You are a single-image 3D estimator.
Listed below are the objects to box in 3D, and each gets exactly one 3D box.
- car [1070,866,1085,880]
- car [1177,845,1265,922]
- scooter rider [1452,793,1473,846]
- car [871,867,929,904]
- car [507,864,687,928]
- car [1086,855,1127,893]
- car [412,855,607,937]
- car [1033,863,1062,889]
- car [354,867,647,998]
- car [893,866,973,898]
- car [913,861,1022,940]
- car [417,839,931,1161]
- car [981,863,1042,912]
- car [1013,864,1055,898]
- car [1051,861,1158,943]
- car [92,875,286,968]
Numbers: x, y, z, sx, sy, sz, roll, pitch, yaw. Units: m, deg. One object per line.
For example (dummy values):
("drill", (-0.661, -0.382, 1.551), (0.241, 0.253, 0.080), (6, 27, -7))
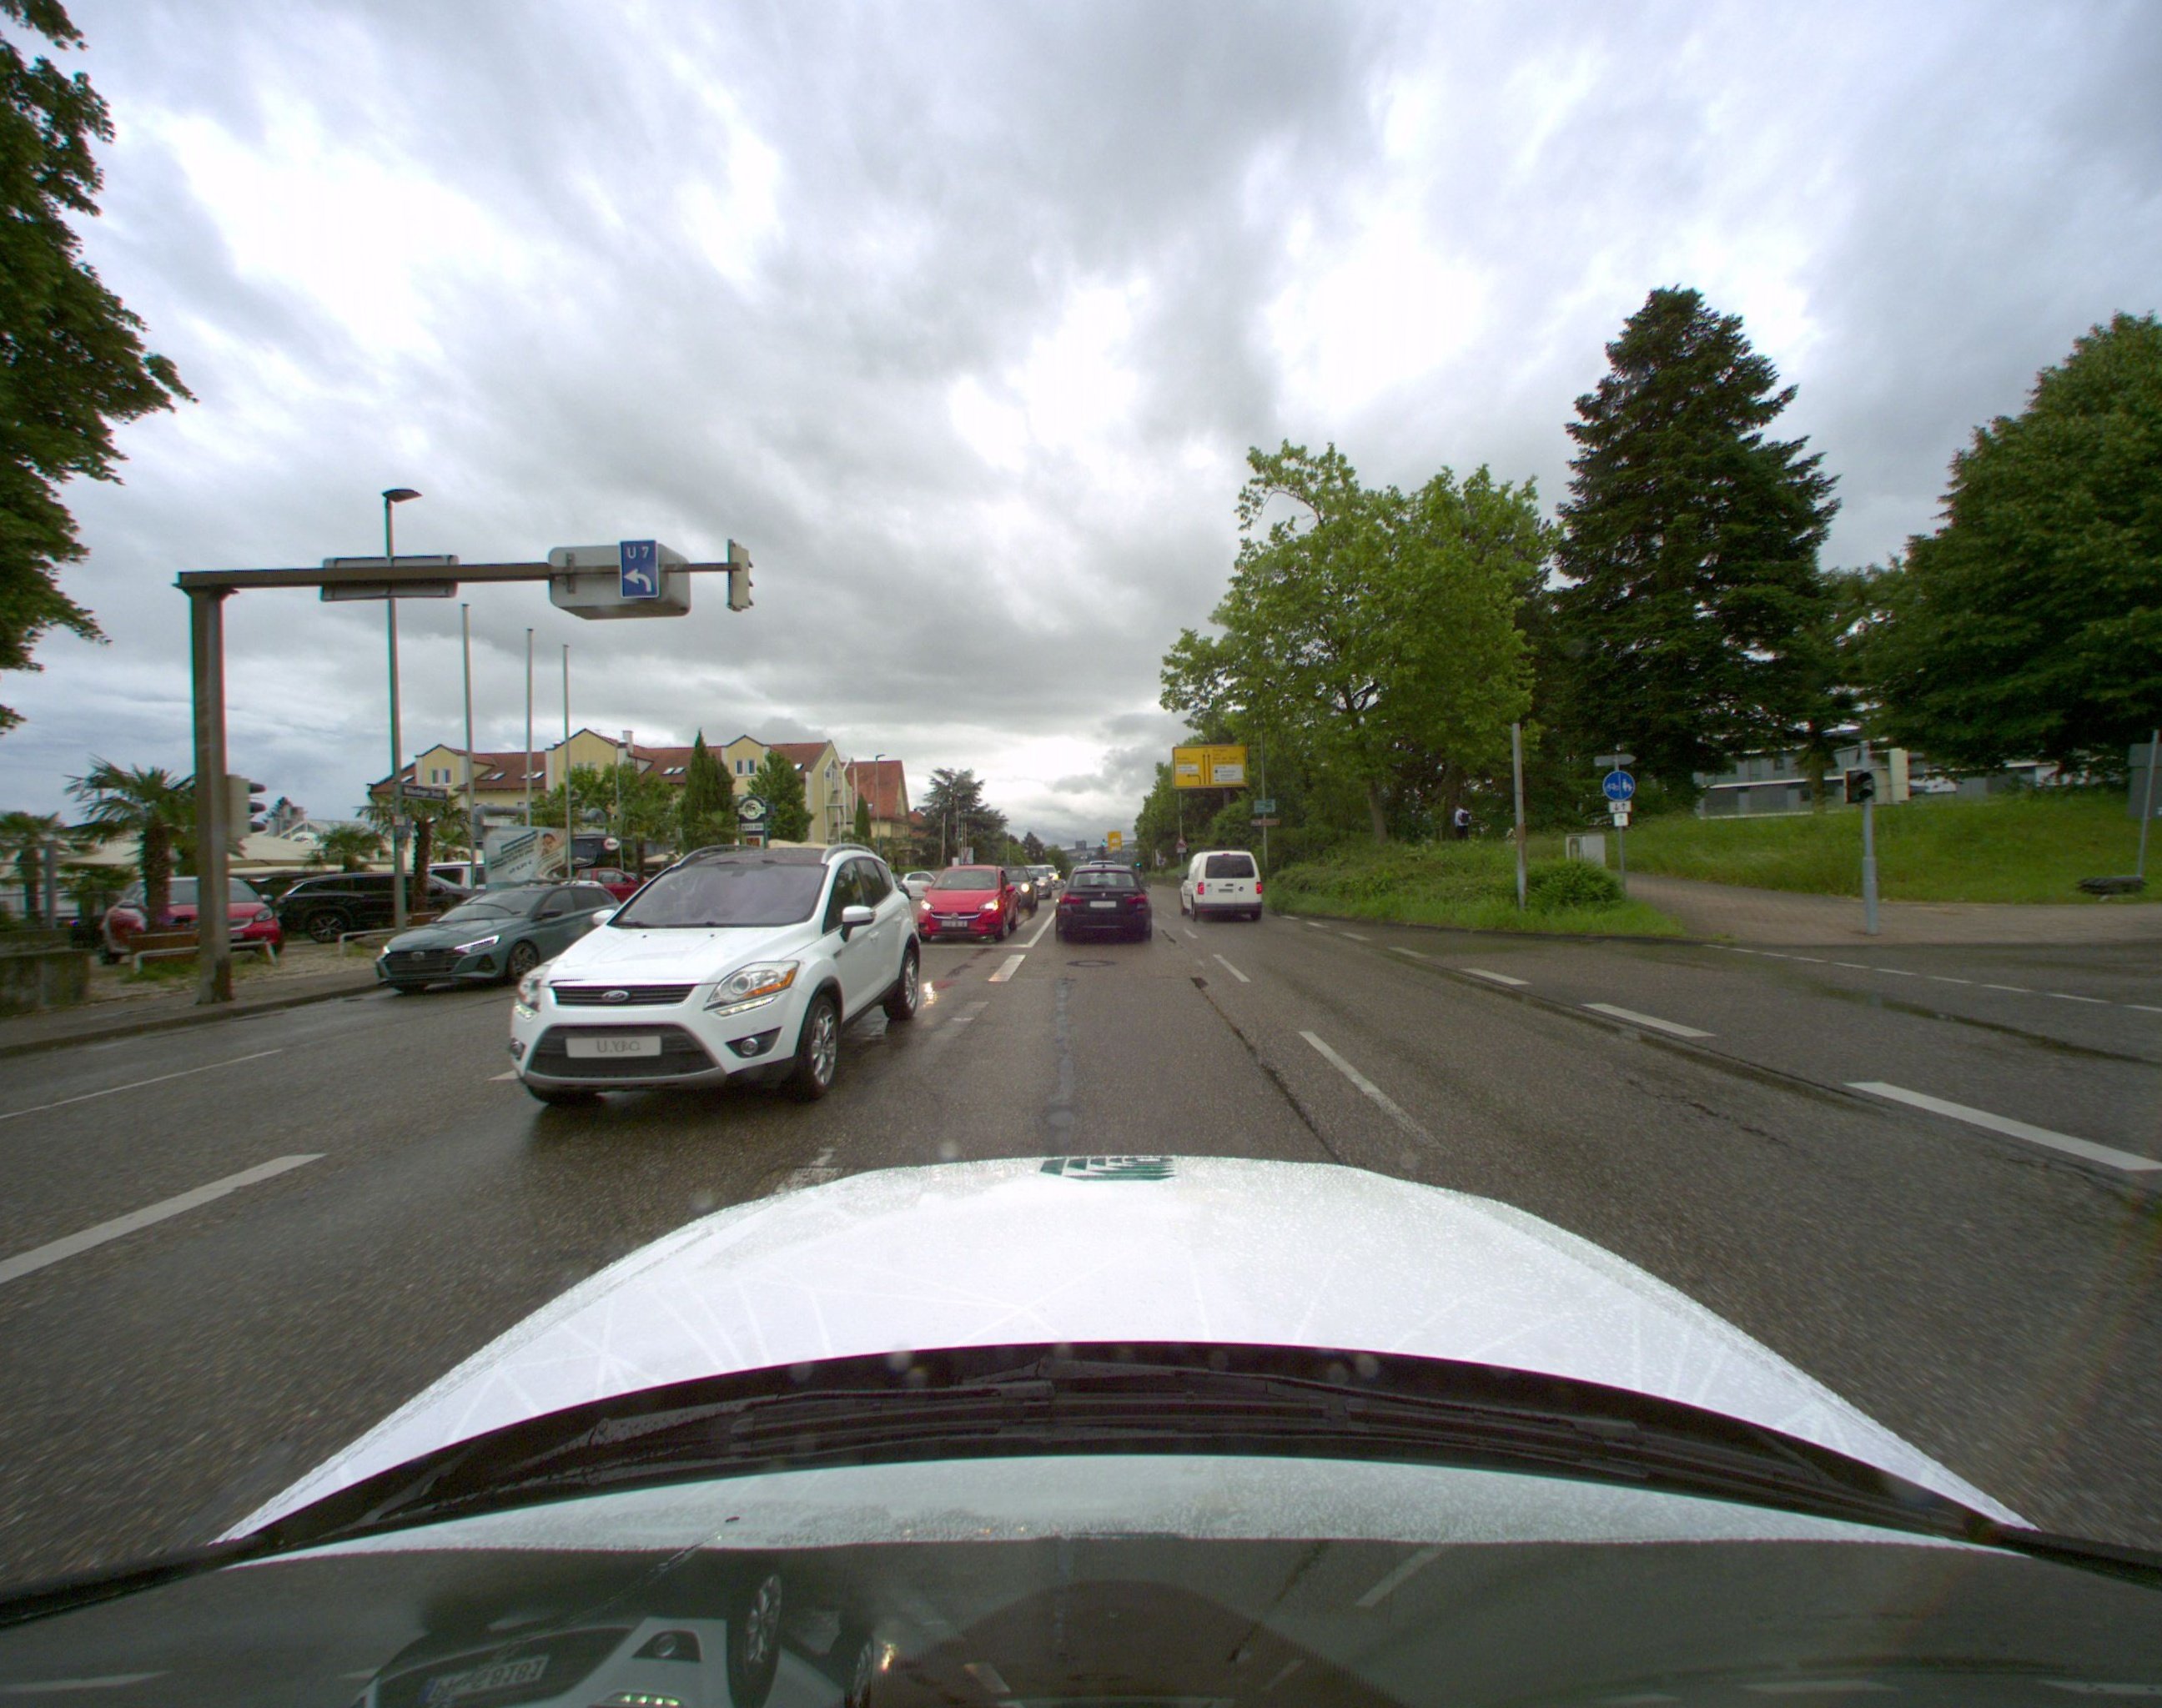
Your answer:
("car", (-0.417, 2.527, 107.298), (1.861, 1.673, 4.002), (-1, 0, 2))
("car", (3.671, 0.710, 21.915), (1.758, 1.877, 3.806), (-1, 0, 1))
("scooter rider", (14.347, -1.288, 30.615), (0.499, 1.965, 0.548), (-2, 0, 1))
("car", (-8.235, 1.401, 37.410), (1.597, 1.400, 4.404), (-4, 0, 0))
("car", (-16.235, 1.411, 27.688), (5.024, 1.702, 1.982), (-3, -3, -27))
("car", (1.222, 0.933, 39.182), (1.861, 1.673, 4.002), (-1, 0, 2))
("car", (-16.814, 1.190, 24.285), (4.410, 2.013, 1.982), (-3, 0, -27))
("car", (-2.195, 1.468, 54.210), (1.782, 1.581, 4.236), (-1, -1, -1))
("car", (-8.943, 1.094, 13.048), (1.670, 1.618, 4.001), (-3, 0, 1))
("car", (-7.540, 1.443, 41.277), (3.992, 1.477, 1.653), (-3, -2, 37))
("car", (-2.269, 0.920, 17.241), (1.626, 1.434, 4.144), (-1, -1, 1))
("car", (-2.558, 0.776, 6.480), (1.833, 1.649, 4.297), (-2, 0, 1))
("car", (-2.209, 1.033, 26.756), (1.596, 1.441, 3.949), (-1, 0, 1))
("car", (-2.074, 1.189, 36.601), (1.596, 1.441, 3.948), (-1, -1, 1))
("car", (0.494, 0.910, 16.597), (1.891, 1.442, 4.001), (-1, -2, 2))
("car", (-16.588, 1.222, 15.128), (3.572, 1.504, 1.676), (-3, -2, 30))
